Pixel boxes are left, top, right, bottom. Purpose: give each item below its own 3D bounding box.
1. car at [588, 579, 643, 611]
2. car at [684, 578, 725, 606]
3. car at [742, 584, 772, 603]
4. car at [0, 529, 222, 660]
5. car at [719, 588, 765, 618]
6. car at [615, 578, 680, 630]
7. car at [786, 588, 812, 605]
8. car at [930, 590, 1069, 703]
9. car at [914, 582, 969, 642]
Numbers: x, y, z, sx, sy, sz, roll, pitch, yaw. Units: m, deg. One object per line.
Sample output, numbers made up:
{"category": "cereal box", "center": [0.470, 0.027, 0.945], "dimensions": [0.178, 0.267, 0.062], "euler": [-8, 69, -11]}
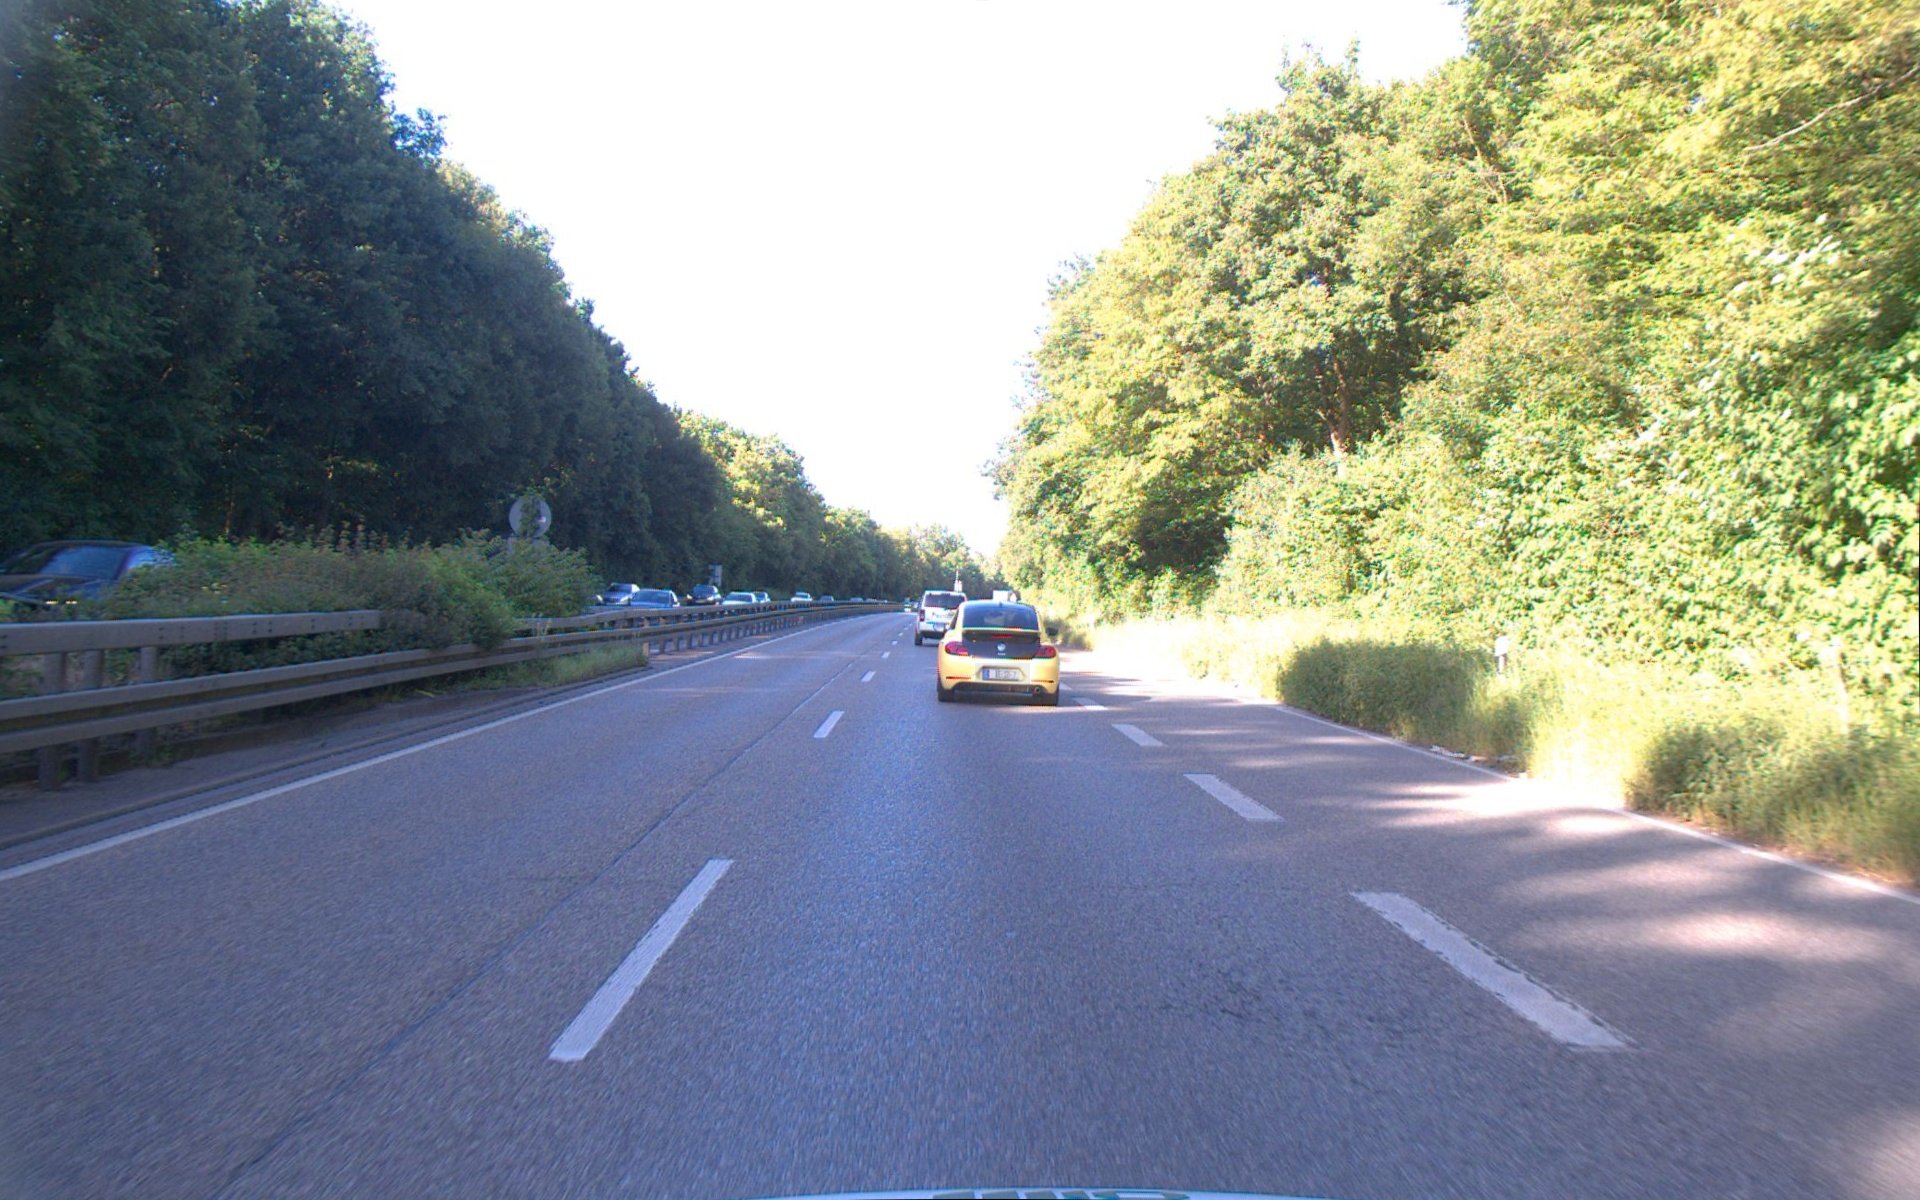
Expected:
{"category": "car", "center": [-18.321, -0.236, 88.176], "dimensions": [1.953, 1.628, 4.706], "euler": [1, 0, -1]}
{"category": "car", "center": [-16.868, -0.506, 109.466], "dimensions": [1.953, 1.728, 4.907], "euler": [1, 0, -1]}
{"category": "car", "center": [-16.691, -0.495, 136.116], "dimensions": [1.953, 1.512, 3.999], "euler": [1, 0, -1]}
{"category": "car", "center": [-11.297, -0.067, 21.440], "dimensions": [1.714, 1.523, 3.942], "euler": [1, 0, -1]}
{"category": "car", "center": [-11.876, 0.177, 90.356], "dimensions": [1.953, 1.587, 4.706], "euler": [1, 0, -1]}
{"category": "car", "center": [-11.882, 0.145, 63.088], "dimensions": [1.752, 1.892, 3.999], "euler": [1, 0, -1]}
{"category": "car", "center": [-16.248, -0.345, 166.857], "dimensions": [1.952, 1.651, 4.791], "euler": [1, 0, 2]}
{"category": "car", "center": [0.628, 0.661, 24.756], "dimensions": [1.898, 1.535, 3.423], "euler": [1, 0, 3]}
{"category": "car", "center": [-0.610, 0.389, 54.090], "dimensions": [1.706, 1.862, 3.421], "euler": [1, 0, -1]}
